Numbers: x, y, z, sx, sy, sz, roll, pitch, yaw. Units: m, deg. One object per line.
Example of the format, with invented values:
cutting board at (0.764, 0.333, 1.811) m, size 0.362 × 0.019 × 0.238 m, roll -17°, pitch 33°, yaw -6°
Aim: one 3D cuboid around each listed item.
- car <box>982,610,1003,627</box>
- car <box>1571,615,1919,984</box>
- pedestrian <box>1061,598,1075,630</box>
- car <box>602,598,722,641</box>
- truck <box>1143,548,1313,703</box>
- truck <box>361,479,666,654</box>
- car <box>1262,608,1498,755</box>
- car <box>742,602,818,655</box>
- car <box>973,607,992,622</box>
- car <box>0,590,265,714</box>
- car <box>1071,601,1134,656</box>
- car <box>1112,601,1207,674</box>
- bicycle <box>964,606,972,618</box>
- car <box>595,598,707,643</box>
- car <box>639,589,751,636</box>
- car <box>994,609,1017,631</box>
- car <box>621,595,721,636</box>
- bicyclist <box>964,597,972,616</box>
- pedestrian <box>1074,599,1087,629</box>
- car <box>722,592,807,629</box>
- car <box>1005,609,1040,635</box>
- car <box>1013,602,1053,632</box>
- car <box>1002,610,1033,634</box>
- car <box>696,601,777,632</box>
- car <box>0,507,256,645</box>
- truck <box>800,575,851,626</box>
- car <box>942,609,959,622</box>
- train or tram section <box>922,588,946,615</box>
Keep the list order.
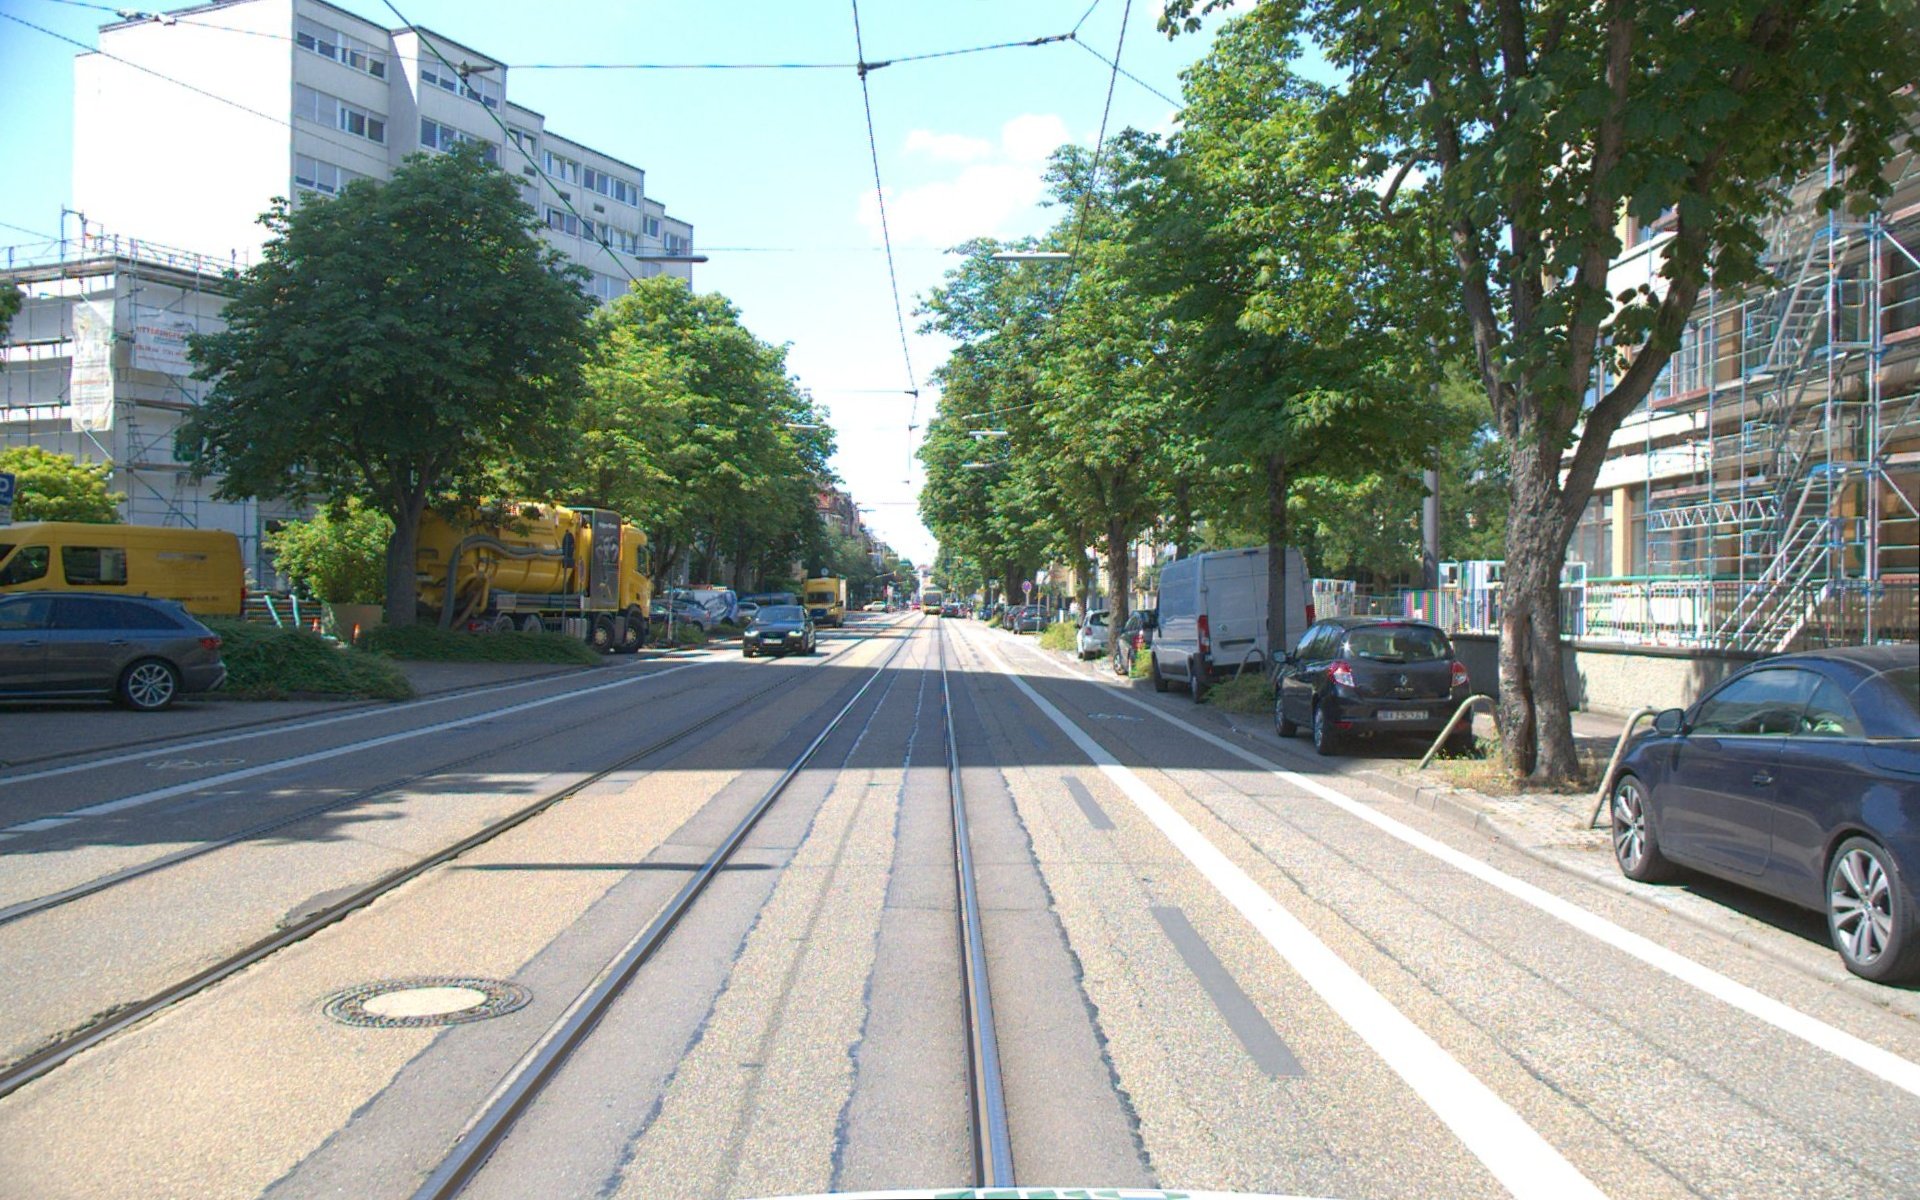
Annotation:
car at (2.823, 1.623, 143.795) m, size 1.676 × 1.448 × 4.308 m, roll 0°, pitch -1°, yaw -1°
car at (4.929, 0.860, 8.713) m, size 1.787 × 1.497 × 4.486 m, roll 0°, pitch 0°, yaw 0°
pedestrian at (6.439, 0.827, 98.330) m, size 0.709 × 1.892 × 0.577 m, roll -1°, pitch 0°, yaw 17°
car at (-11.261, 0.725, 62.681) m, size 4.168 × 1.533 × 1.845 m, roll -1°, pitch 0°, yaw -42°
truck at (4.740, 0.404, 30.144) m, size 1.973 × 2.532 × 5.954 m, roll 0°, pitch 0°, yaw -1°
truck at (-11.110, -0.679, 42.887) m, size 2.657 × 3.909 × 10.972 m, roll 2°, pitch -1°, yaw 13°
car at (4.832, 0.871, 19.652) m, size 1.786 × 1.497 × 4.401 m, roll 0°, pitch 0°, yaw 2°
car at (-5.058, 0.776, 46.933) m, size 1.738 × 1.422 × 4.286 m, roll 0°, pitch 0°, yaw -1°
car at (2.189, 1.434, 162.132) m, size 1.676 × 1.448 × 4.308 m, roll 0°, pitch -1°, yaw -1°
car at (-11.125, 0.616, 20.364) m, size 4.405 × 1.419 × 1.747 m, roll 2°, pitch 0°, yaw -40°
car at (4.269, 0.837, 49.881) m, size 1.610 × 1.561 × 3.785 m, roll 0°, pitch 0°, yaw 1°
car at (4.508, 0.808, 37.848) m, size 1.611 × 1.561 × 3.946 m, roll 0°, pitch 0°, yaw -1°
bicycle at (0.731, 1.054, 145.439) m, size 0.626 × 0.986 × 1.780 m, roll 2°, pitch -2°, yaw -2°
car at (-11.057, 0.734, 59.337) m, size 1.731 × 1.533 × 3.687 m, roll -1°, pitch 0°, yaw 42°
car at (-11.586, 0.531, 72.513) m, size 1.887 × 1.968 × 4.729 m, roll -2°, pitch -1°, yaw 41°
car at (3.396, 1.516, 124.578) m, size 1.560 × 1.645 × 3.906 m, roll 0°, pitch -1°, yaw -1°
car at (-11.471, 0.614, 65.783) m, size 1.663 × 1.571 × 3.685 m, roll -1°, pitch 0°, yaw 43°
bicyclist at (0.730, 0.609, 145.425) m, size 0.609 × 1.644 × 0.864 m, roll 2°, pitch -2°, yaw -2°
pedestrian at (7.125, 0.834, 97.788) m, size 0.606 × 1.768 × 0.477 m, roll -1°, pitch -1°, yaw 25°
car at (-11.631, 0.630, 98.647) m, size 4.718 × 2.098 × 1.997 m, roll -1°, pitch 0°, yaw -40°
car at (3.618, 1.272, 96.047) m, size 1.838 × 1.480 × 4.527 m, roll 0°, pitch -1°, yaw 0°
car at (3.673, 0.856, 83.465) m, size 1.606 × 1.511 × 3.869 m, roll 0°, pitch -1°, yaw -4°
car at (3.564, 1.371, 102.576) m, size 1.676 × 1.448 × 4.242 m, roll 0°, pitch -1°, yaw -1°
car at (-11.580, 0.845, 85.896) m, size 1.730 × 1.458 × 3.978 m, roll -3°, pitch -1°, yaw 41°
car at (-18.328, -0.424, 34.560) m, size 2.137 × 2.611 × 6.712 m, roll 1°, pitch -1°, yaw 29°
truck at (-7.878, 0.017, 97.458) m, size 2.312 × 2.902 × 7.378 m, roll 0°, pitch 0°, yaw 1°
car at (-1.009, 1.571, 169.812) m, size 1.745 × 1.369 × 3.415 m, roll 0°, pitch 0°, yaw -1°
train or tram section at (-3.420, 0.181, 218.733) m, size 2.973 × 3.499 × 11.969 m, roll 0°, pitch 0°, yaw 0°
